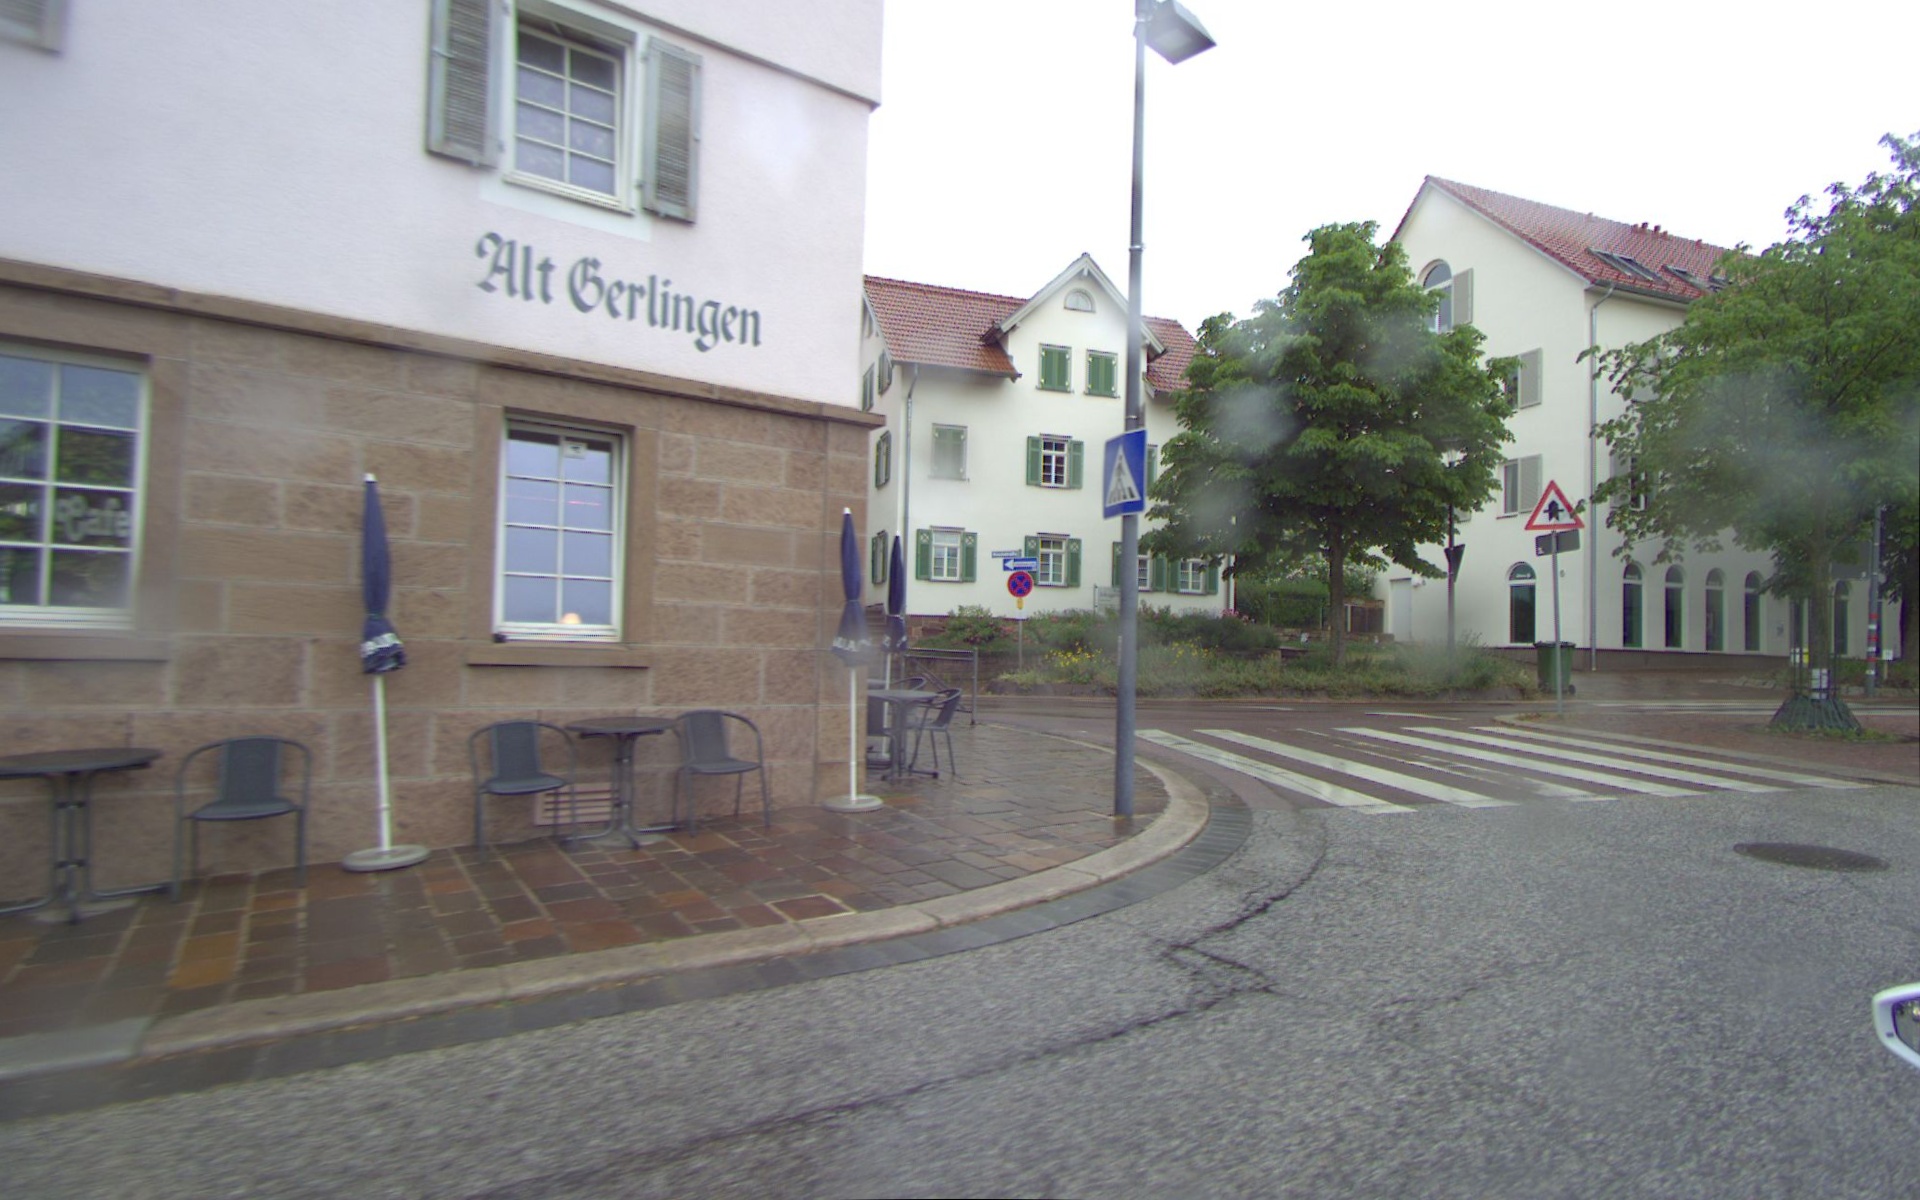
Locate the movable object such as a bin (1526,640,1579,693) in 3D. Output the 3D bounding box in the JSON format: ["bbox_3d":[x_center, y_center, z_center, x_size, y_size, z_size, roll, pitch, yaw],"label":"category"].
[{"bbox_3d":[12.230,1.371,20.761,0.684,1.072,0.636,1,-3,-5],"label":"movable object such as a bin"}]
